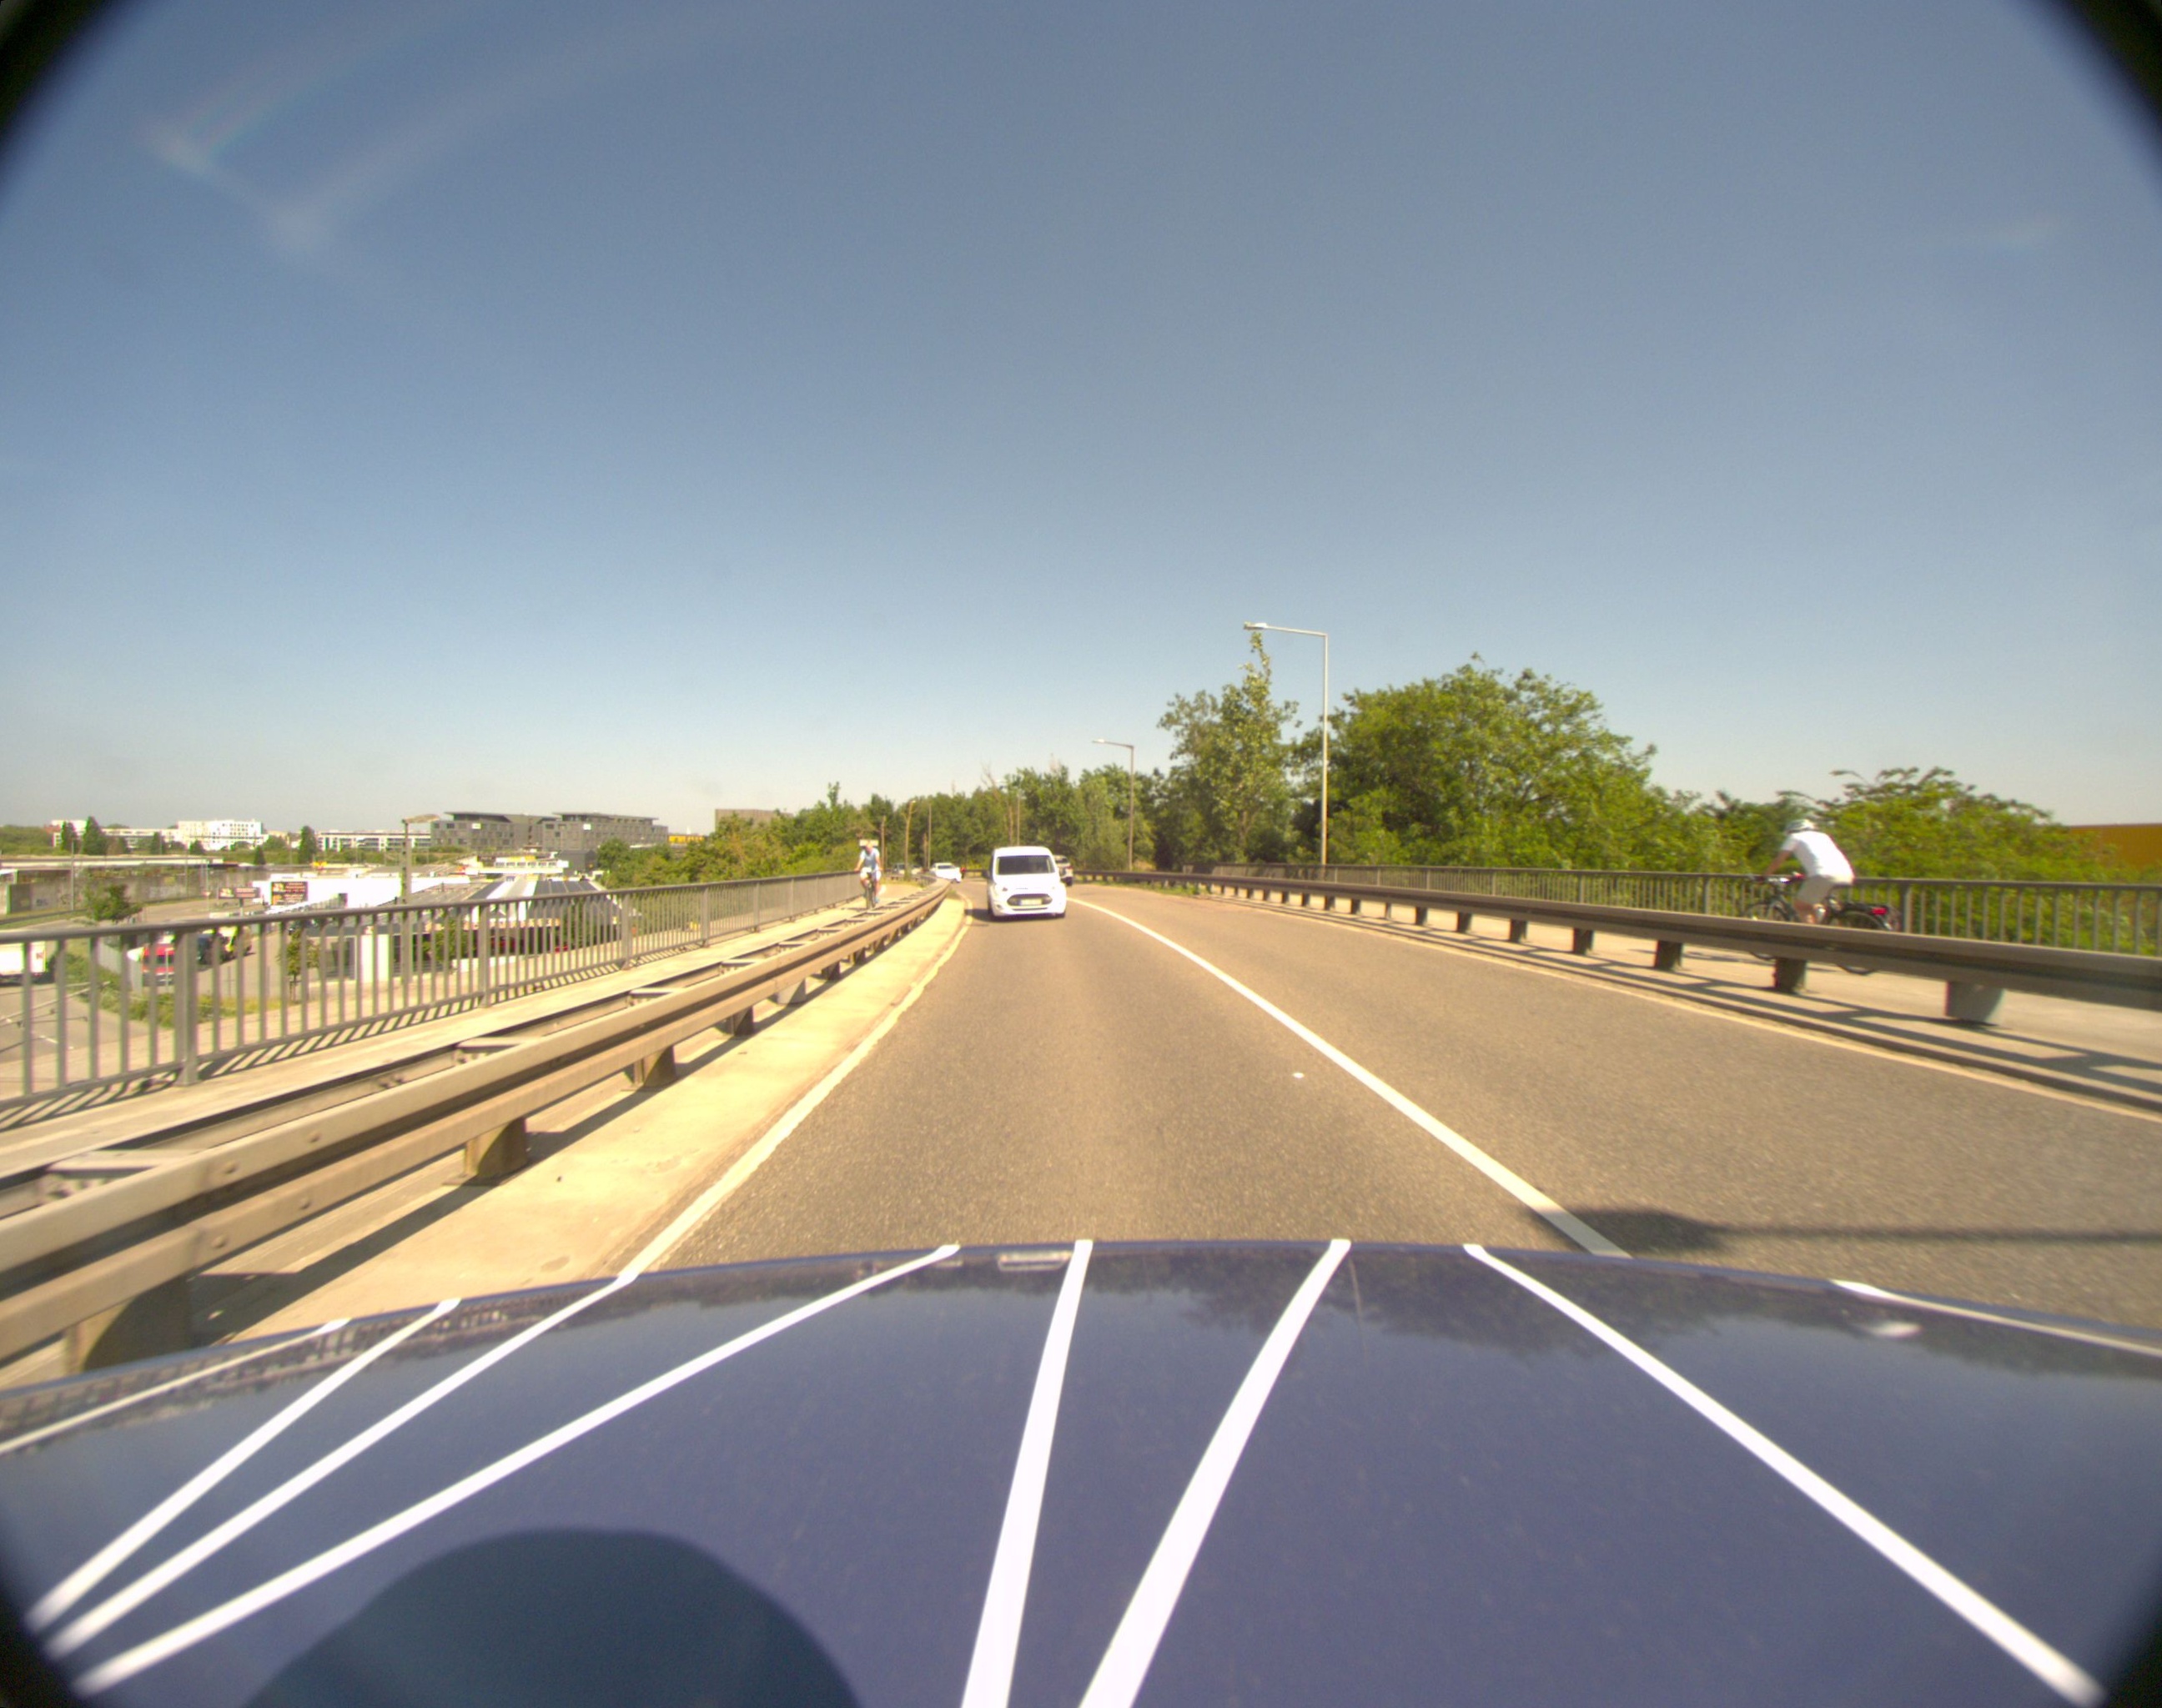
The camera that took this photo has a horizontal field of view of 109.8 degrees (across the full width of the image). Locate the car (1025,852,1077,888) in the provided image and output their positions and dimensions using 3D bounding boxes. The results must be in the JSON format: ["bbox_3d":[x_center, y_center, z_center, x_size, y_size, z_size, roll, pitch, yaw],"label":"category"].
[{"bbox_3d":[-1.656,0.800,40.524,1.865,1.673,4.467,-3,1,-14],"label":"car"}]

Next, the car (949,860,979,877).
[{"bbox_3d":[-10.531,1.307,68.167,1.746,1.448,4.292,-2,-1,-22],"label":"car"}]

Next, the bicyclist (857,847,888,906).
[{"bbox_3d":[-5.464,0.572,19.949,0.660,1.511,0.802,2,1,-11],"label":"bicyclist"}]

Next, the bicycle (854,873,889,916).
[{"bbox_3d":[-5.494,1.041,20.014,0.704,1.014,1.844,2,-1,-11],"label":"bicycle"}]

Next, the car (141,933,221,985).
[{"bbox_3d":[-63.949,7.398,54.115,2.311,2.650,5.362,-8,6,-37],"label":"car"}]

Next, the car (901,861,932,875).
[{"bbox_3d":[-17.205,1.490,79.193,1.725,1.390,4.172,-2,0,-34],"label":"car"}]

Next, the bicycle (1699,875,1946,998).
[{"bbox_3d":[8.127,0.836,8.507,0.613,1.128,2.149,2,0,-1],"label":"bicycle"}]

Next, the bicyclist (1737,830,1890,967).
[{"bbox_3d":[8.136,0.461,8.495,0.609,1.430,1.078,1,1,-1],"label":"bicyclist"}]

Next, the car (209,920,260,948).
[{"bbox_3d":[-71.518,6.741,64.275,2.003,1.861,3.990,-8,3,-37],"label":"car"}]

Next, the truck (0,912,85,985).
[{"bbox_3d":[-74.784,6.562,54.394,13.232,4.005,3.832,0,-1,39],"label":"truck"}]

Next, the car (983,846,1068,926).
[{"bbox_3d":[-1.474,0.732,19.699,1.898,1.785,4.445,-2,0,-5],"label":"car"}]

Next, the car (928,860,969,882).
[{"bbox_3d":[-9.769,1.248,55.840,1.849,1.479,4.143,-2,0,-26],"label":"car"}]

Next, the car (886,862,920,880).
[{"bbox_3d":[-16.000,1.539,68.215,2.003,1.575,3.992,-1,-1,-28],"label":"car"}]
